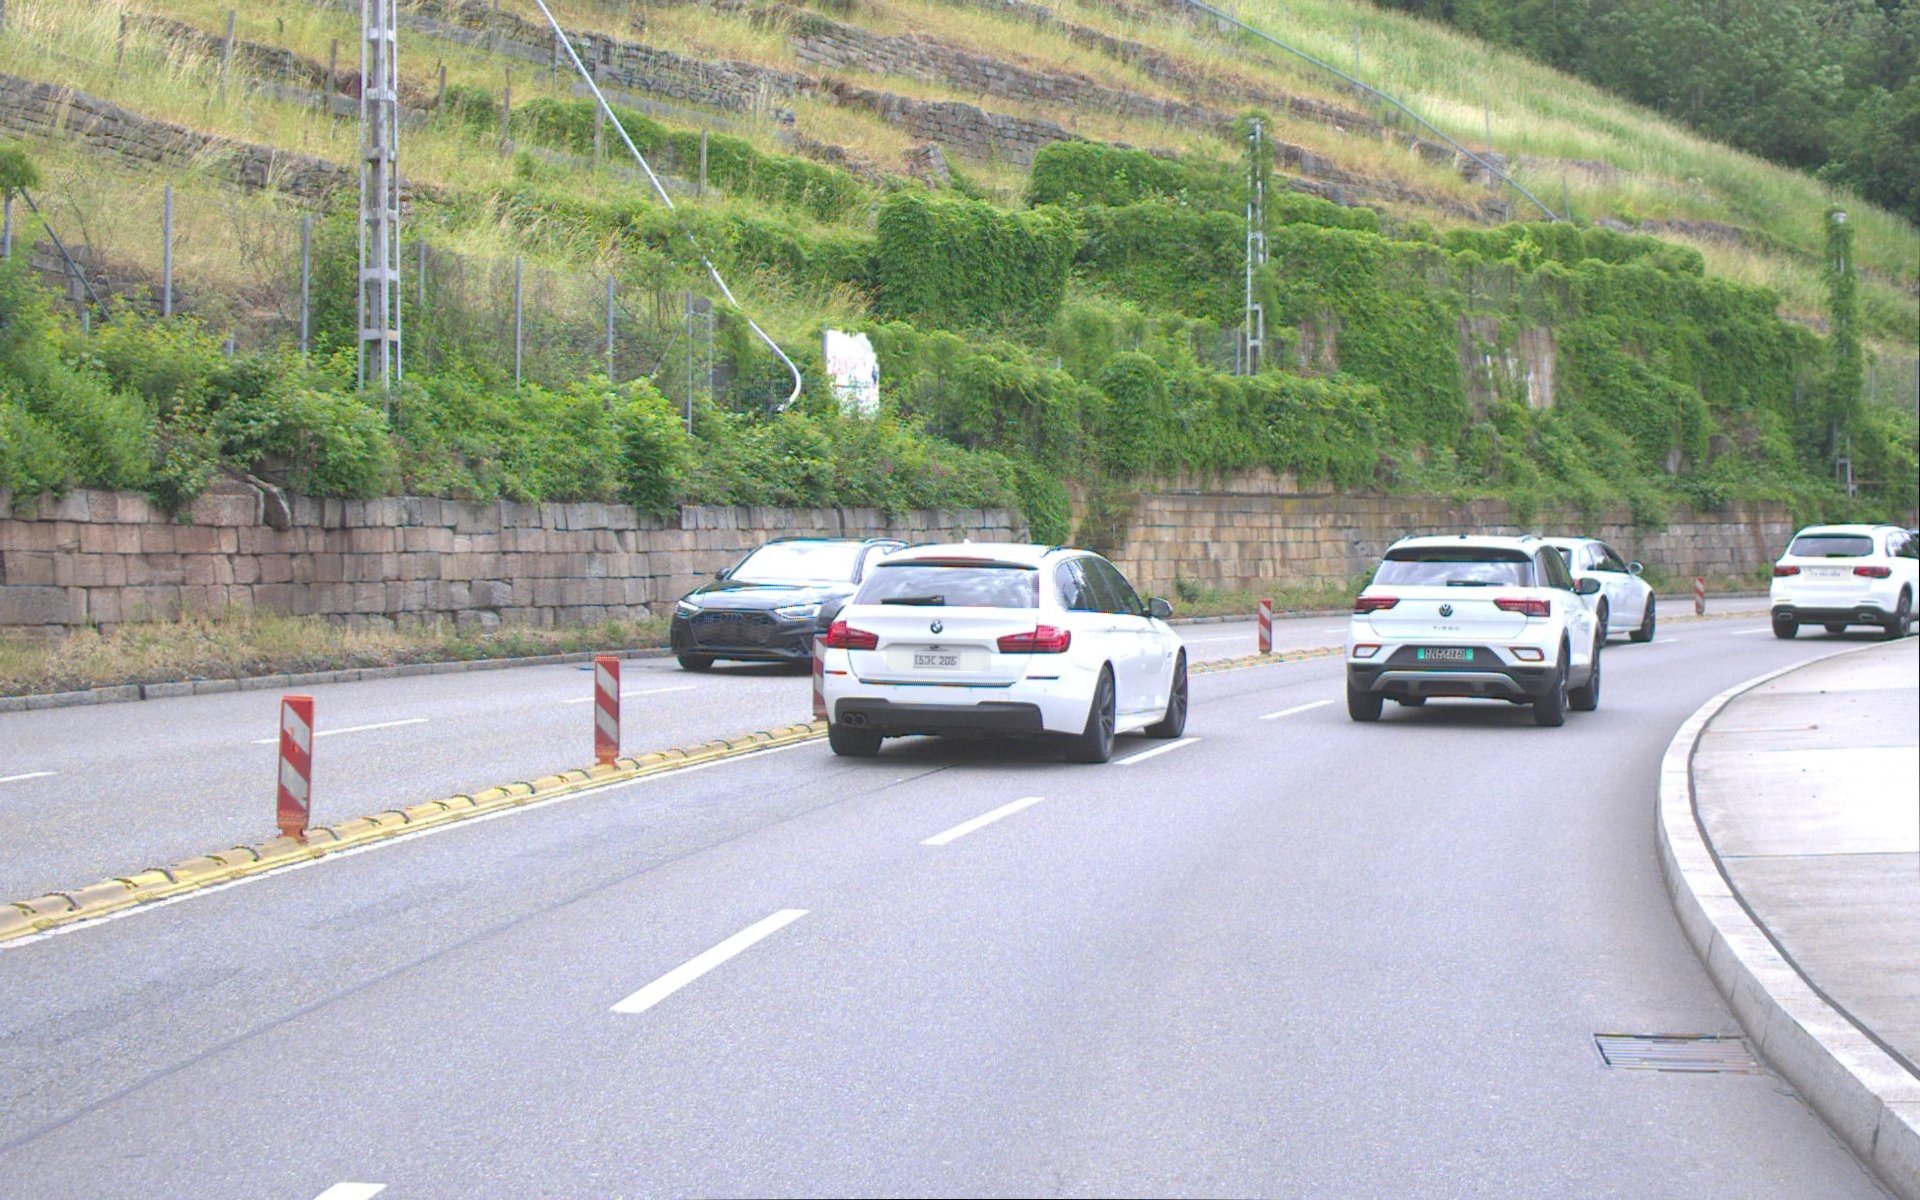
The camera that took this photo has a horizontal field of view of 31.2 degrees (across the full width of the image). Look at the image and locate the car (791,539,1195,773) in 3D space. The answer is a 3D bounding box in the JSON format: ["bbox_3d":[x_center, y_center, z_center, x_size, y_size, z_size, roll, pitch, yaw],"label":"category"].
[{"bbox_3d":[0.345,0.325,24.204,1.829,1.454,4.483,1,1,14],"label":"car"}]

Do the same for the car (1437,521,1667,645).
[{"bbox_3d":[8.023,-0.273,46.253,1.996,1.498,4.662,2,2,23],"label":"car"}]

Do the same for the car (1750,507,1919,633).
[{"bbox_3d":[13.038,-0.391,49.995,1.996,1.712,4.107,-1,-1,28],"label":"car"}]

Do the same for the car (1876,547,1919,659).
[{"bbox_3d":[18.690,0.007,64.457,1.996,2.007,3.994,-3,-1,28],"label":"car"}]

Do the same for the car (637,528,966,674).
[{"bbox_3d":[-1.611,-0.027,36.670,1.853,1.408,4.411,2,2,21],"label":"car"}]

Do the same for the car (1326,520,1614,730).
[{"bbox_3d":[4.453,0.178,29.547,1.829,1.600,3.997,3,1,17],"label":"car"}]
